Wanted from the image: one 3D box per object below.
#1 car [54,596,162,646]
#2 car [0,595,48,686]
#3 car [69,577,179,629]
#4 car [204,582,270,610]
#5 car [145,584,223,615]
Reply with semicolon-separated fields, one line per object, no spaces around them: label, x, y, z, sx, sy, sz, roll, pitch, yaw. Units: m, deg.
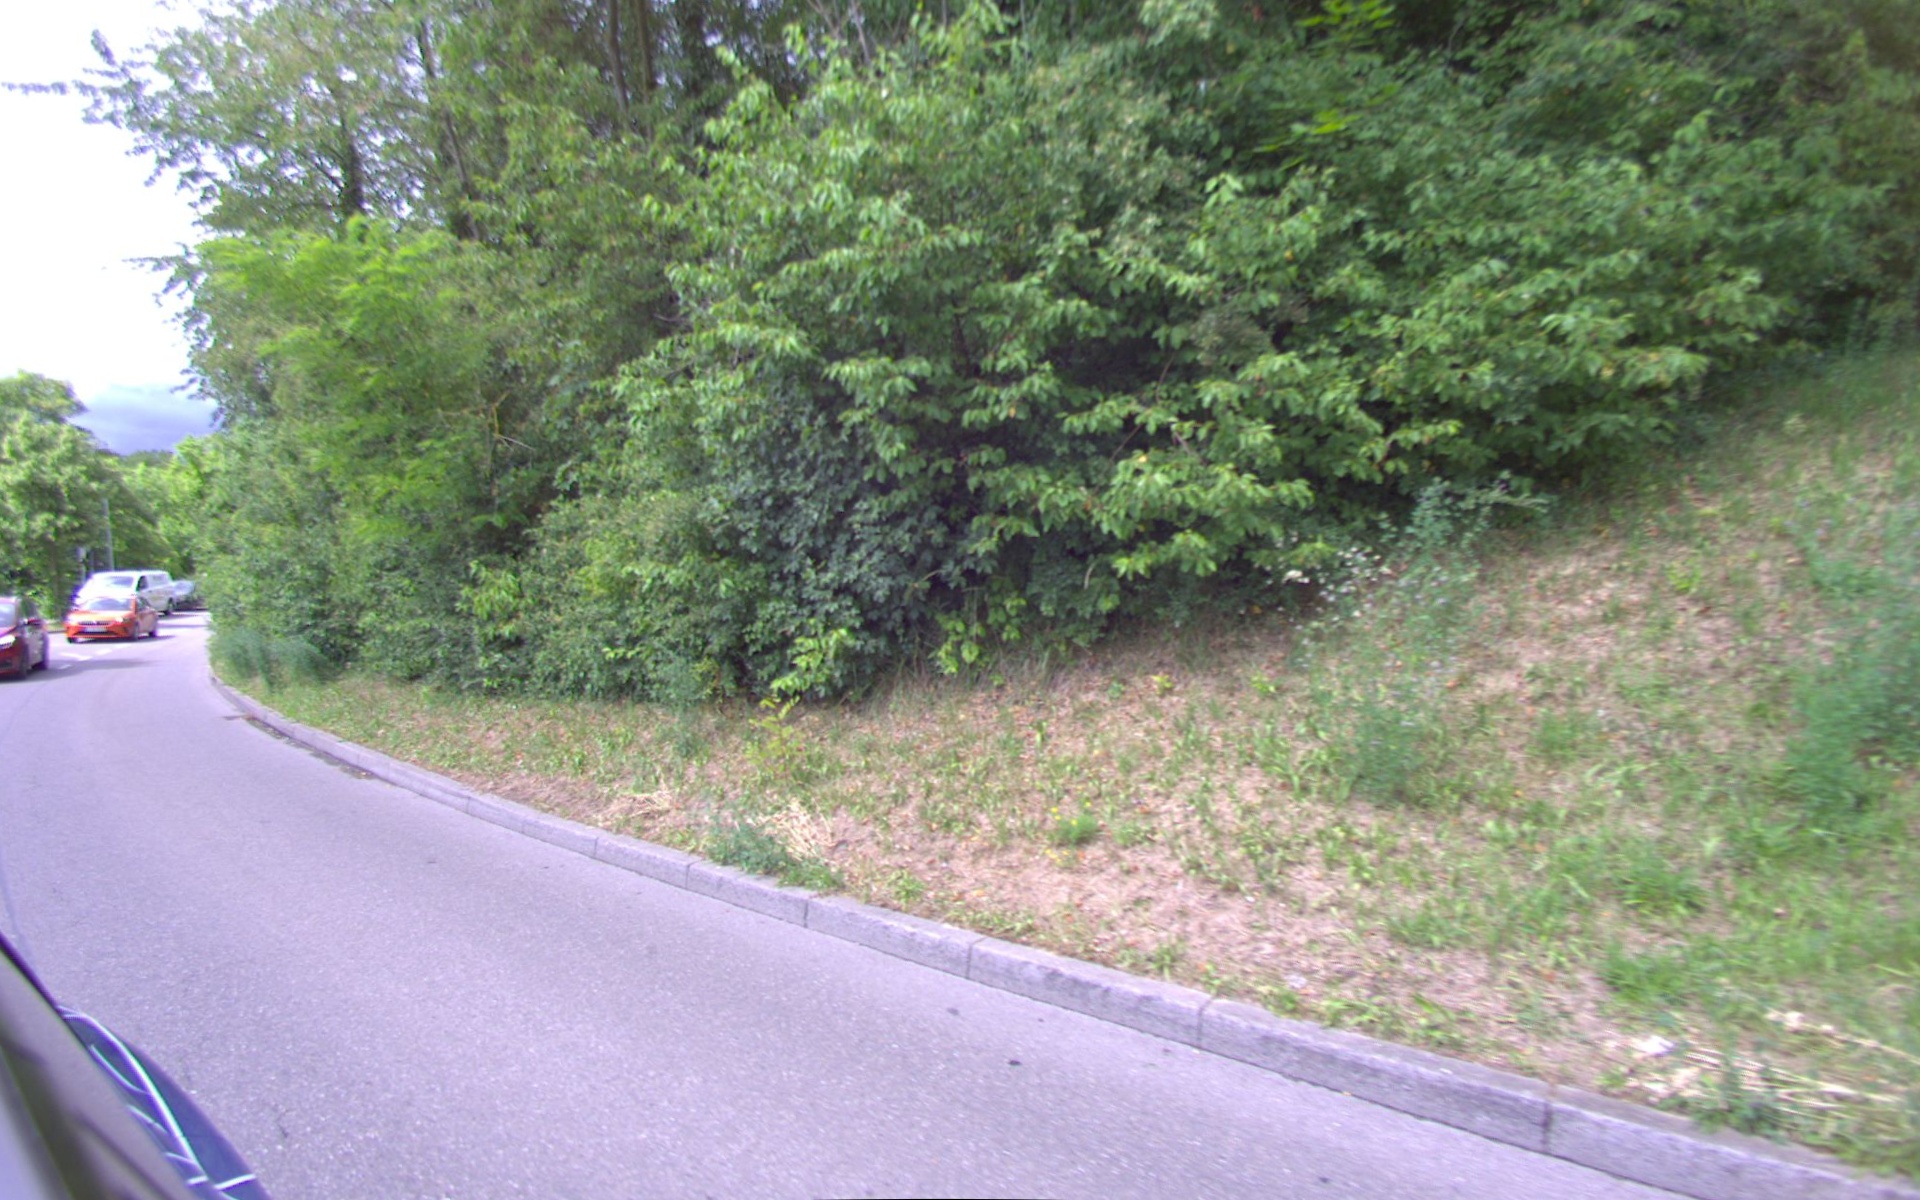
car;-27.360;0.631;32.635;1.766;1.423;4.127;0;1;-27
car;-19.943;0.757;20.379;1.882;1.711;4.397;0;0;-36
car;-35.425;0.055;43.091;1.839;2.074;5.445;0;1;-20
car;-38.918;-0.233;54.573;1.766;1.423;4.118;0;1;-19
car;-37.390;-0.072;48.855;1.766;1.423;4.118;0;1;-19
